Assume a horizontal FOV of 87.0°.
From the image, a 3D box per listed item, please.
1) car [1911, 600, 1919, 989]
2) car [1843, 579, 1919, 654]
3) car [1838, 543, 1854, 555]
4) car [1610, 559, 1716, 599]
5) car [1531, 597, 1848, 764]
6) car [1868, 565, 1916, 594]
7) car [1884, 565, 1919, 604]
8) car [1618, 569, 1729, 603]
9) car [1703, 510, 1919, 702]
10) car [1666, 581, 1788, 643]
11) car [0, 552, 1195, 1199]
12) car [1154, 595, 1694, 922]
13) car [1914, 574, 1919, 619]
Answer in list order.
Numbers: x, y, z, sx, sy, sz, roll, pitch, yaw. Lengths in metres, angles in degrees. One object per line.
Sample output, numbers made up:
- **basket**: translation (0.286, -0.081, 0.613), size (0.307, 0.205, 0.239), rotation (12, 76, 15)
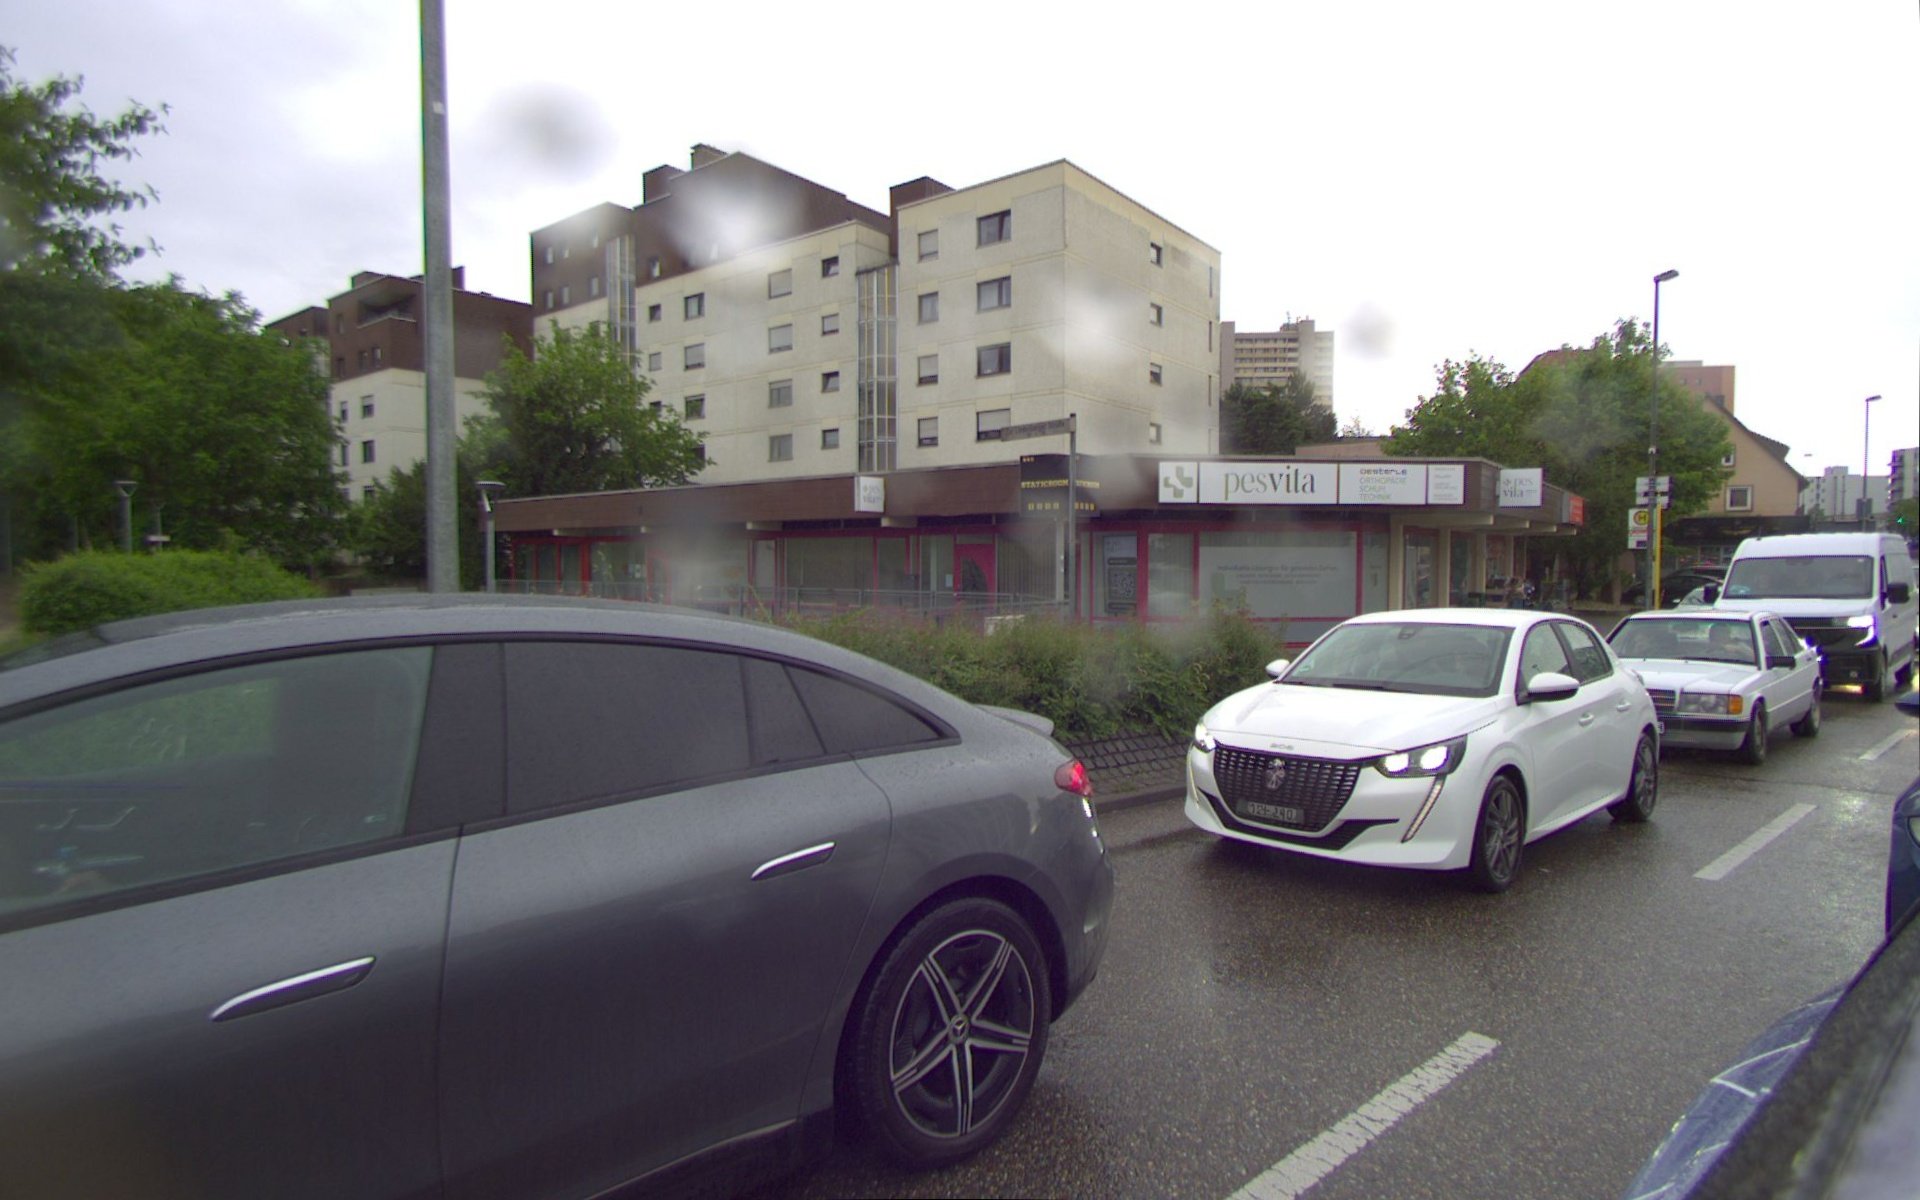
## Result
- **car**: translation (5.465, 0.696, 4.403), size (3.933, 1.406, 1.690), rotation (-1, 1, -43)
- **car**: translation (21.507, 0.324, 22.877), size (3.930, 1.558, 1.802), rotation (-1, 2, -41)
- **car**: translation (139.544, -8.038, 159.437), size (1.657, 1.654, 3.754), rotation (1, 1, 37)
- **car**: translation (33.031, -0.988, 47.605), size (3.981, 1.801, 1.858), rotation (2, 2, 39)
- **car**: translation (7.727, 0.672, 10.580), size (4.089, 1.362, 1.787), rotation (-1, 1, -41)
- **car**: translation (62.984, -1.384, 68.359), size (3.930, 1.776, 1.879), rotation (0, 3, -41)
- **car**: translation (51.497, -0.849, 54.570), size (3.930, 2.038, 1.998), rotation (-1, 3, -40)
- **car**: translation (31.988, -0.647, 45.409), size (3.981, 1.445, 1.858), rotation (2, 2, 39)
- **car**: translation (13.985, 0.000, 16.319), size (6.021, 2.549, 2.194), rotation (-2, 2, -43)
- **car**: translation (20.242, 0.259, 26.659), size (3.930, 1.509, 1.787), rotation (-1, 1, -41)
- **car**: translation (-1.596, 0.680, 2.454), size (4.724, 1.485, 1.840), rotation (0, -1, -41)
- **car**: translation (3.179, 0.707, 6.530), size (4.043, 1.433, 1.665), rotation (-1, 1, -41)
- **car**: translation (36.352, -0.171, 36.928), size (3.933, 1.588, 1.996), rotation (-2, 1, -43)
